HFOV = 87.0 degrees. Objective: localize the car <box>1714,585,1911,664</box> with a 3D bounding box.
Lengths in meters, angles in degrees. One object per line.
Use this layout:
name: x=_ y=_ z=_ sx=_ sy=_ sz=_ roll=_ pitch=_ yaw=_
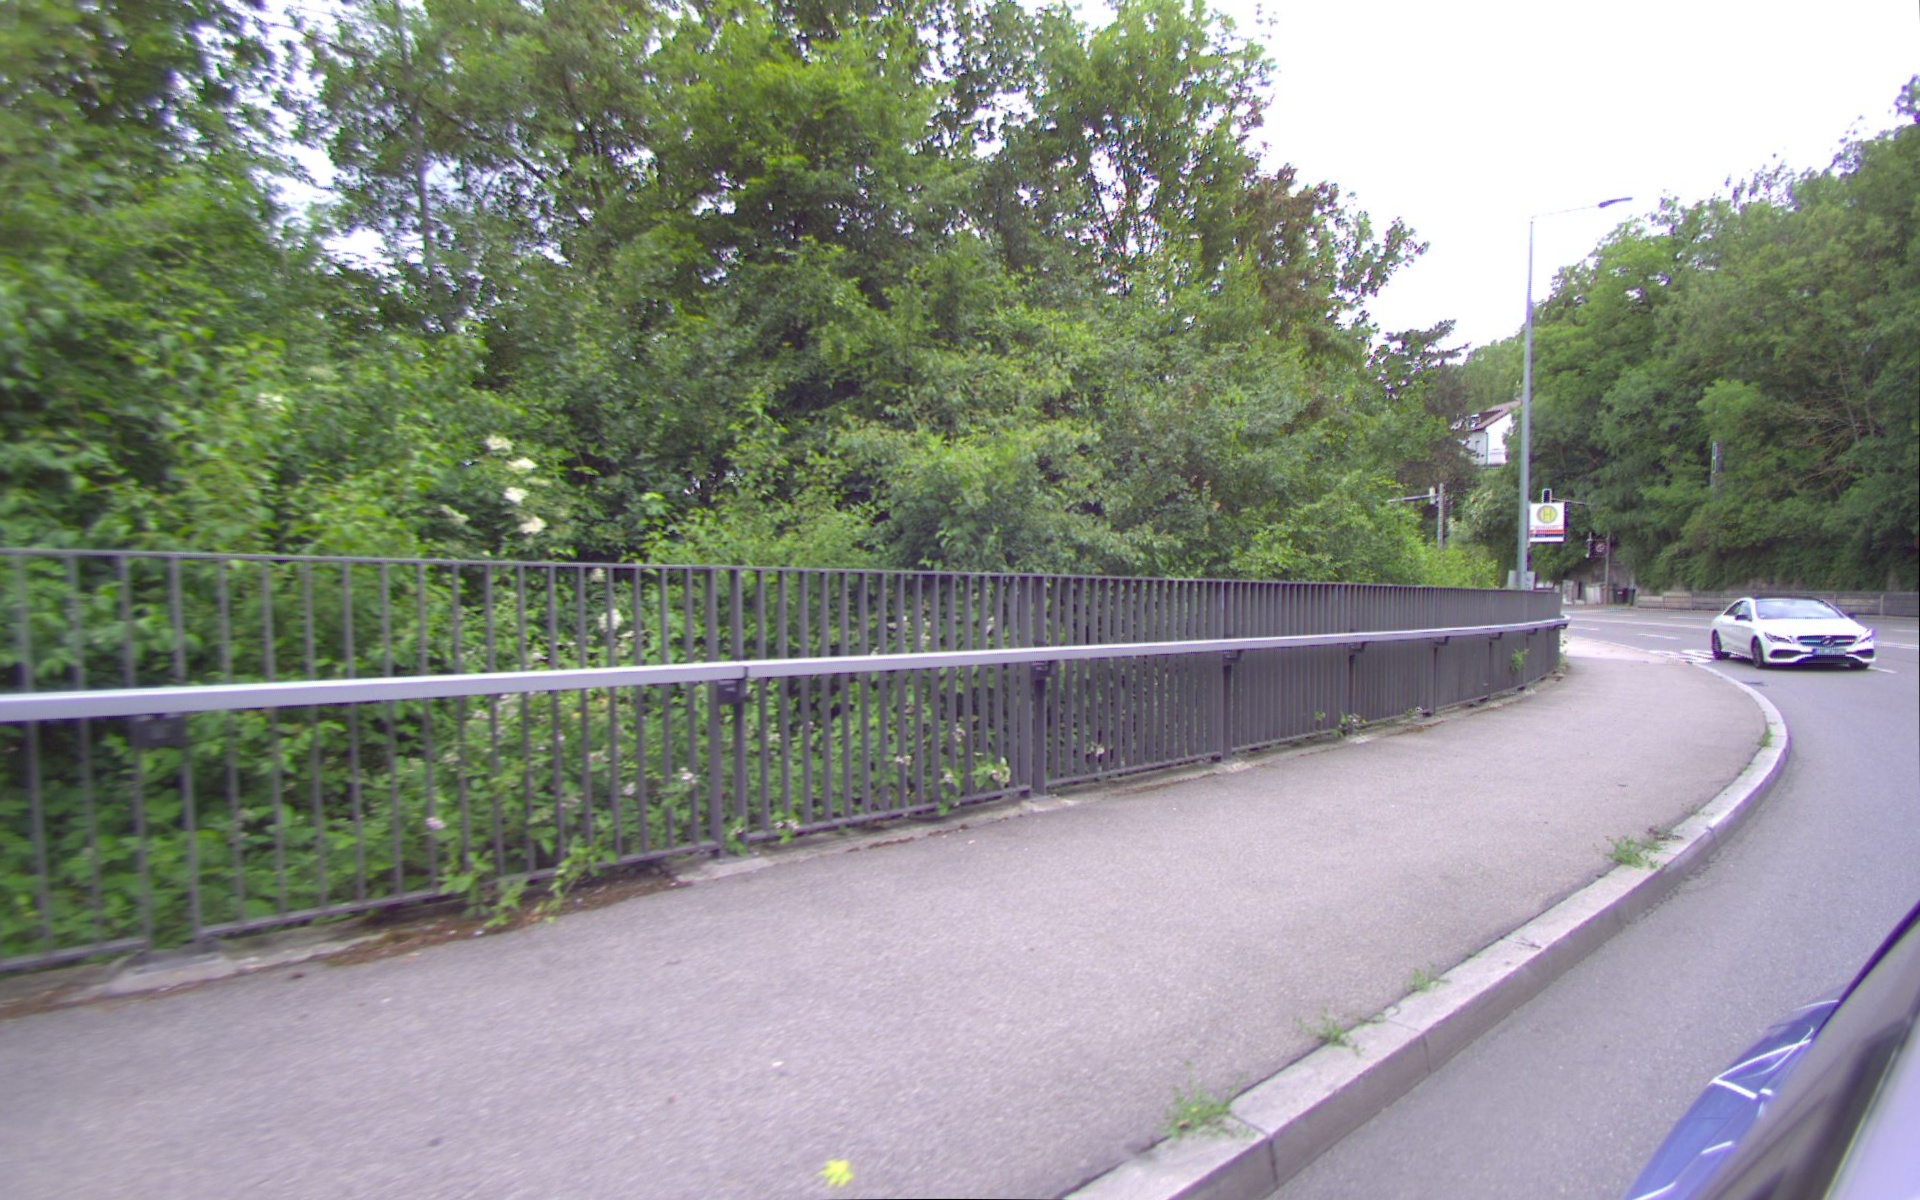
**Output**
car: x=17.491 y=0.456 z=21.033 sx=1.883 sy=1.445 sz=4.233 roll=-2 pitch=0 yaw=23
